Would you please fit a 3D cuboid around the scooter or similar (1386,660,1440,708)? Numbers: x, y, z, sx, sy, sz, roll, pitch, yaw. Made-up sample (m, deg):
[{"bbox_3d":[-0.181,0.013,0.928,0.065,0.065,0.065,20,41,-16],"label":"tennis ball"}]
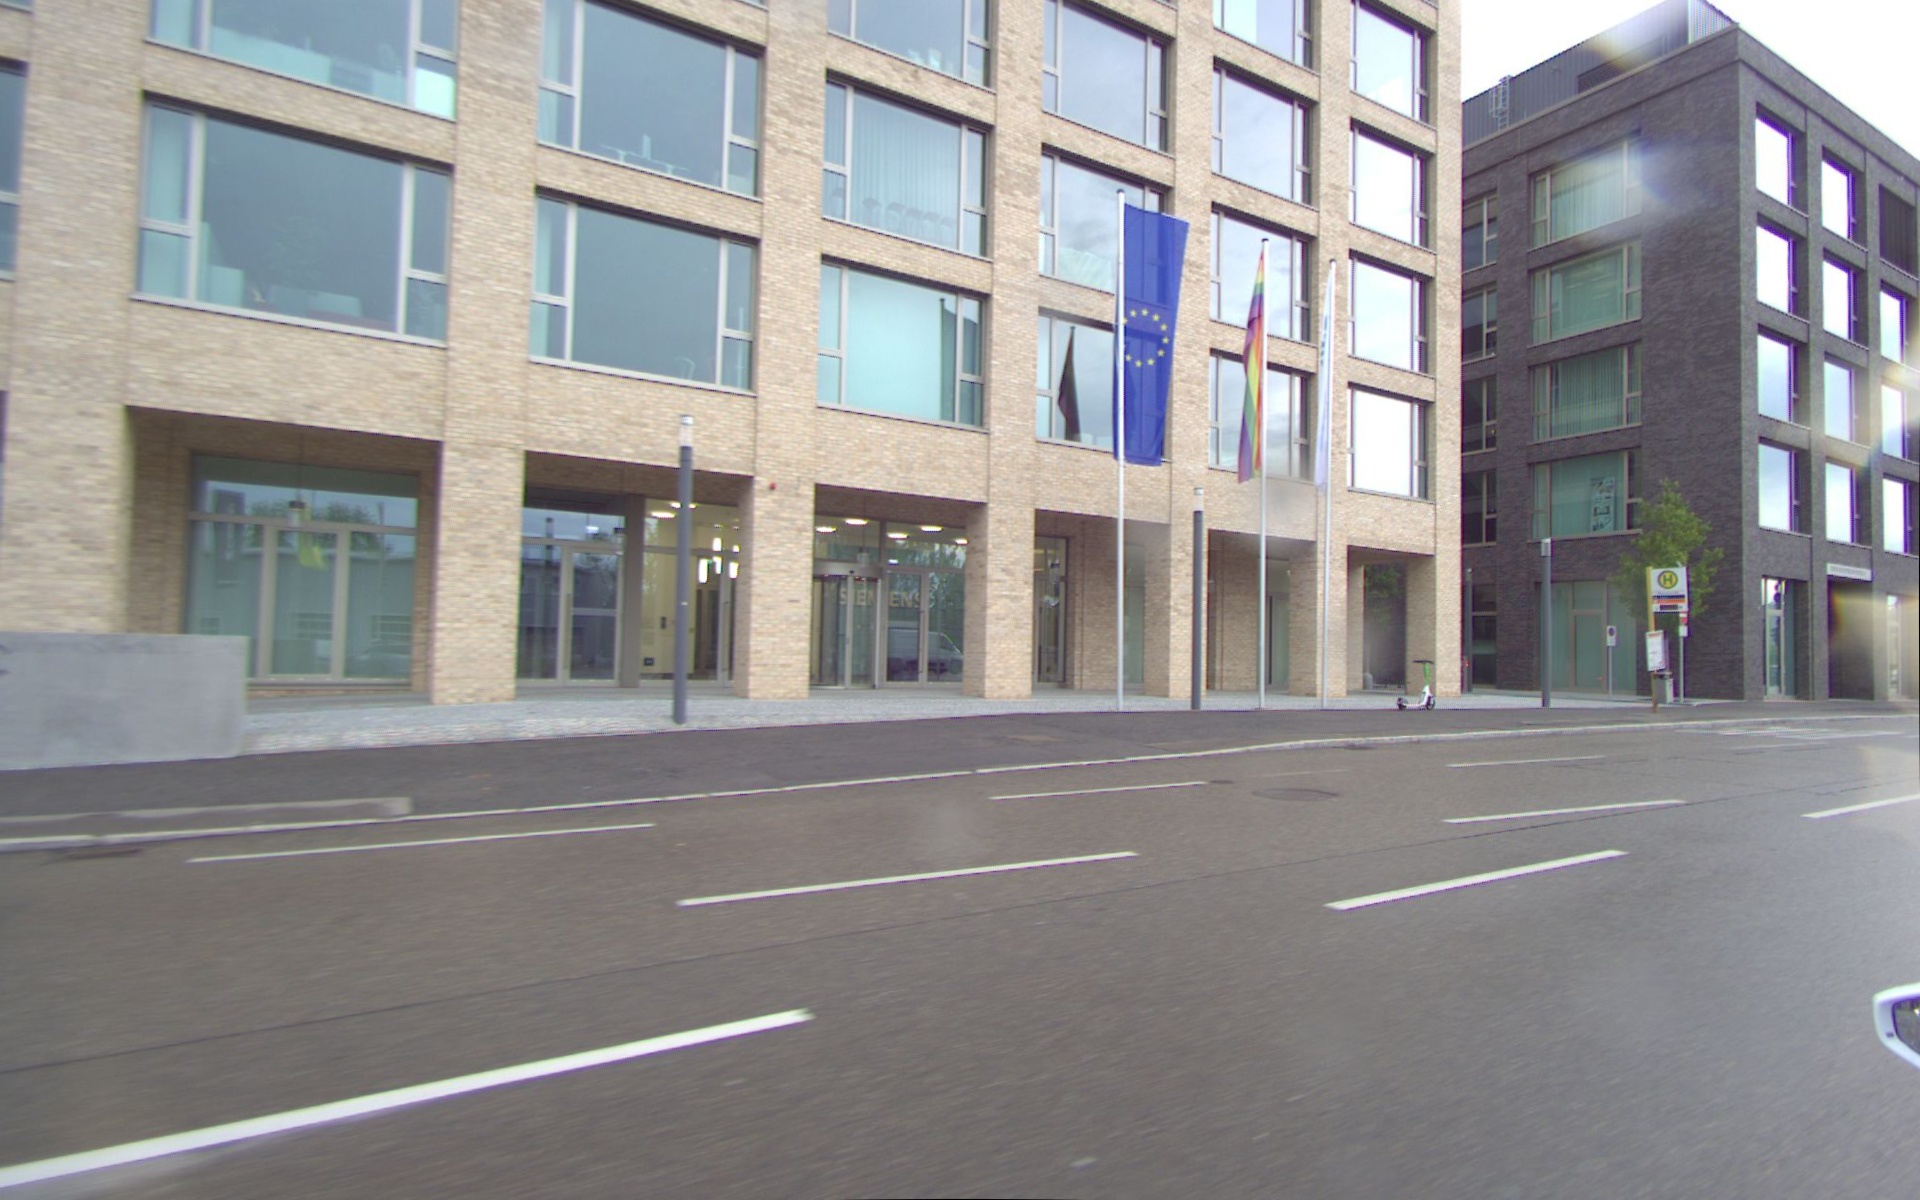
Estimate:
[{"bbox_3d":[10.536,1.956,23.347,1.411,1.085,0.349,3,-2,-30],"label":"scooter or similar"}]
